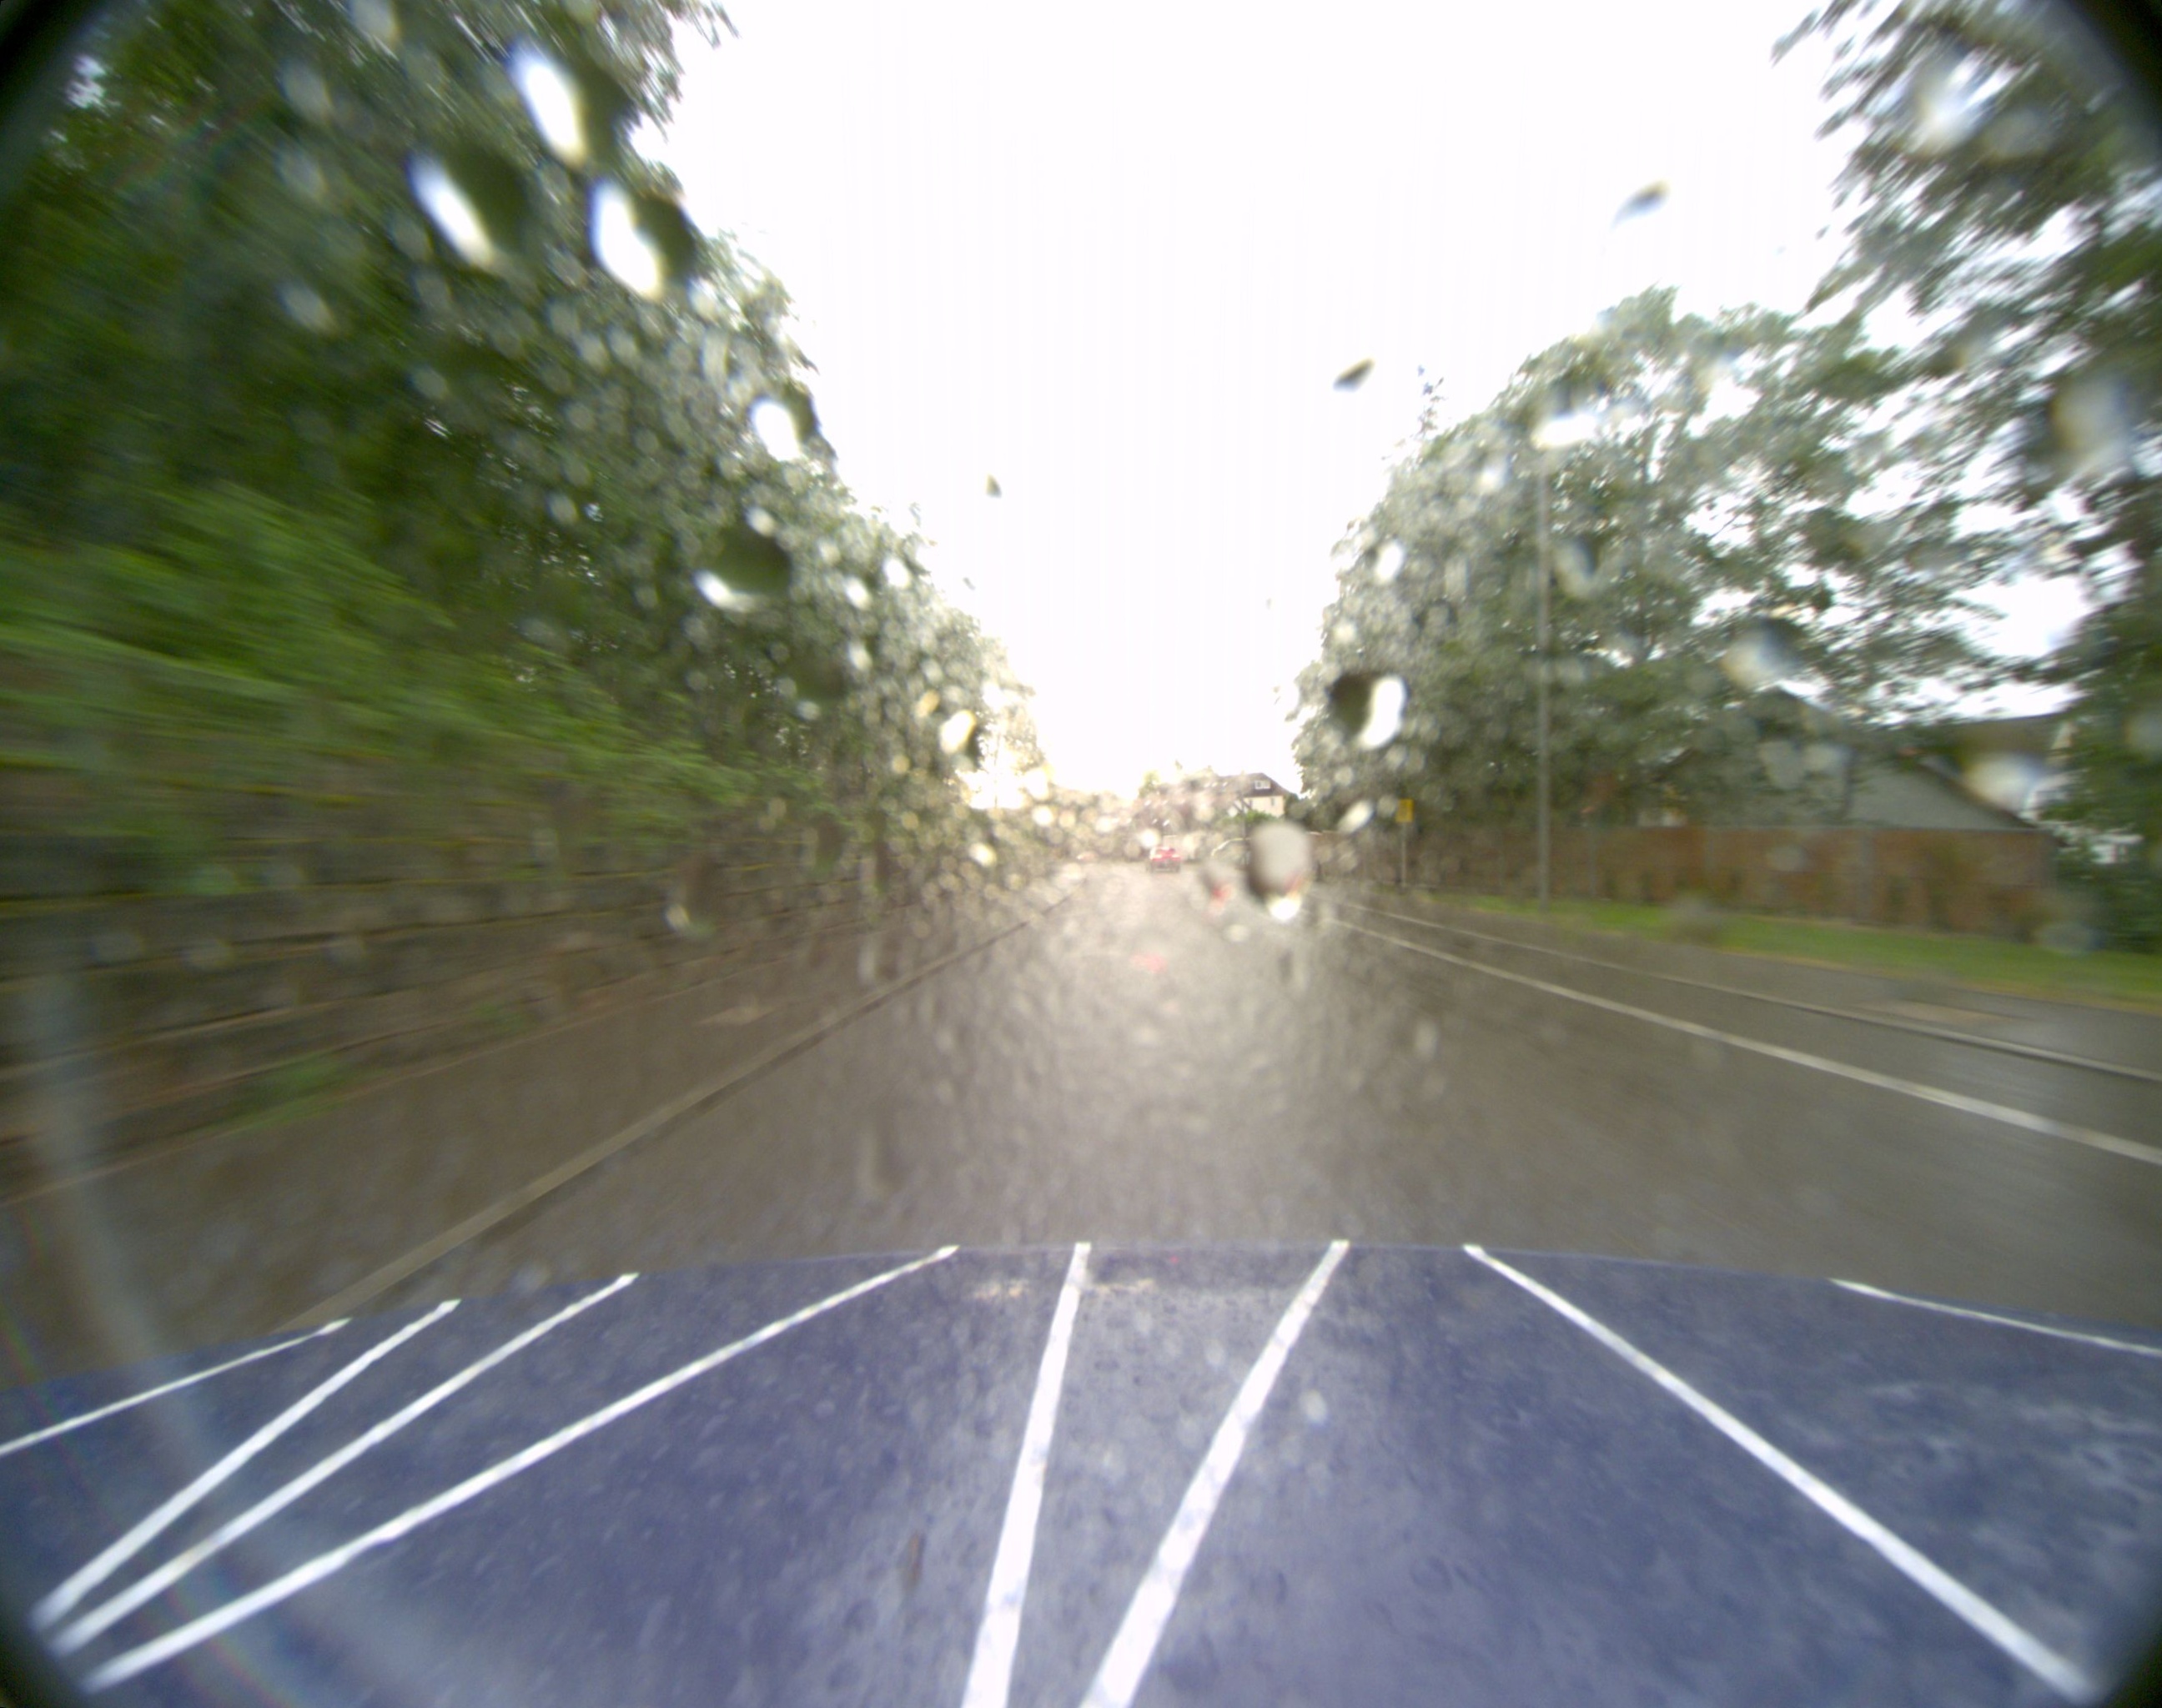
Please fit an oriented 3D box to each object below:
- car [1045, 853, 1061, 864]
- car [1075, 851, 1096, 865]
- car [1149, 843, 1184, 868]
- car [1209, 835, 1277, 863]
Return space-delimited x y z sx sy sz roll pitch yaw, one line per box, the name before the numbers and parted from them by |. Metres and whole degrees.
car | -4.460 0.690 119.491 1.840 1.503 4.613 -2 1 -10
car | 0.556 0.487 92.070 1.840 1.503 4.165 -2 1 -8
car | 5.833 0.074 52.264 1.923 1.638 4.546 -1 1 1
car | 11.705 -0.385 55.105 4.514 1.849 2.089 -2 1 1
